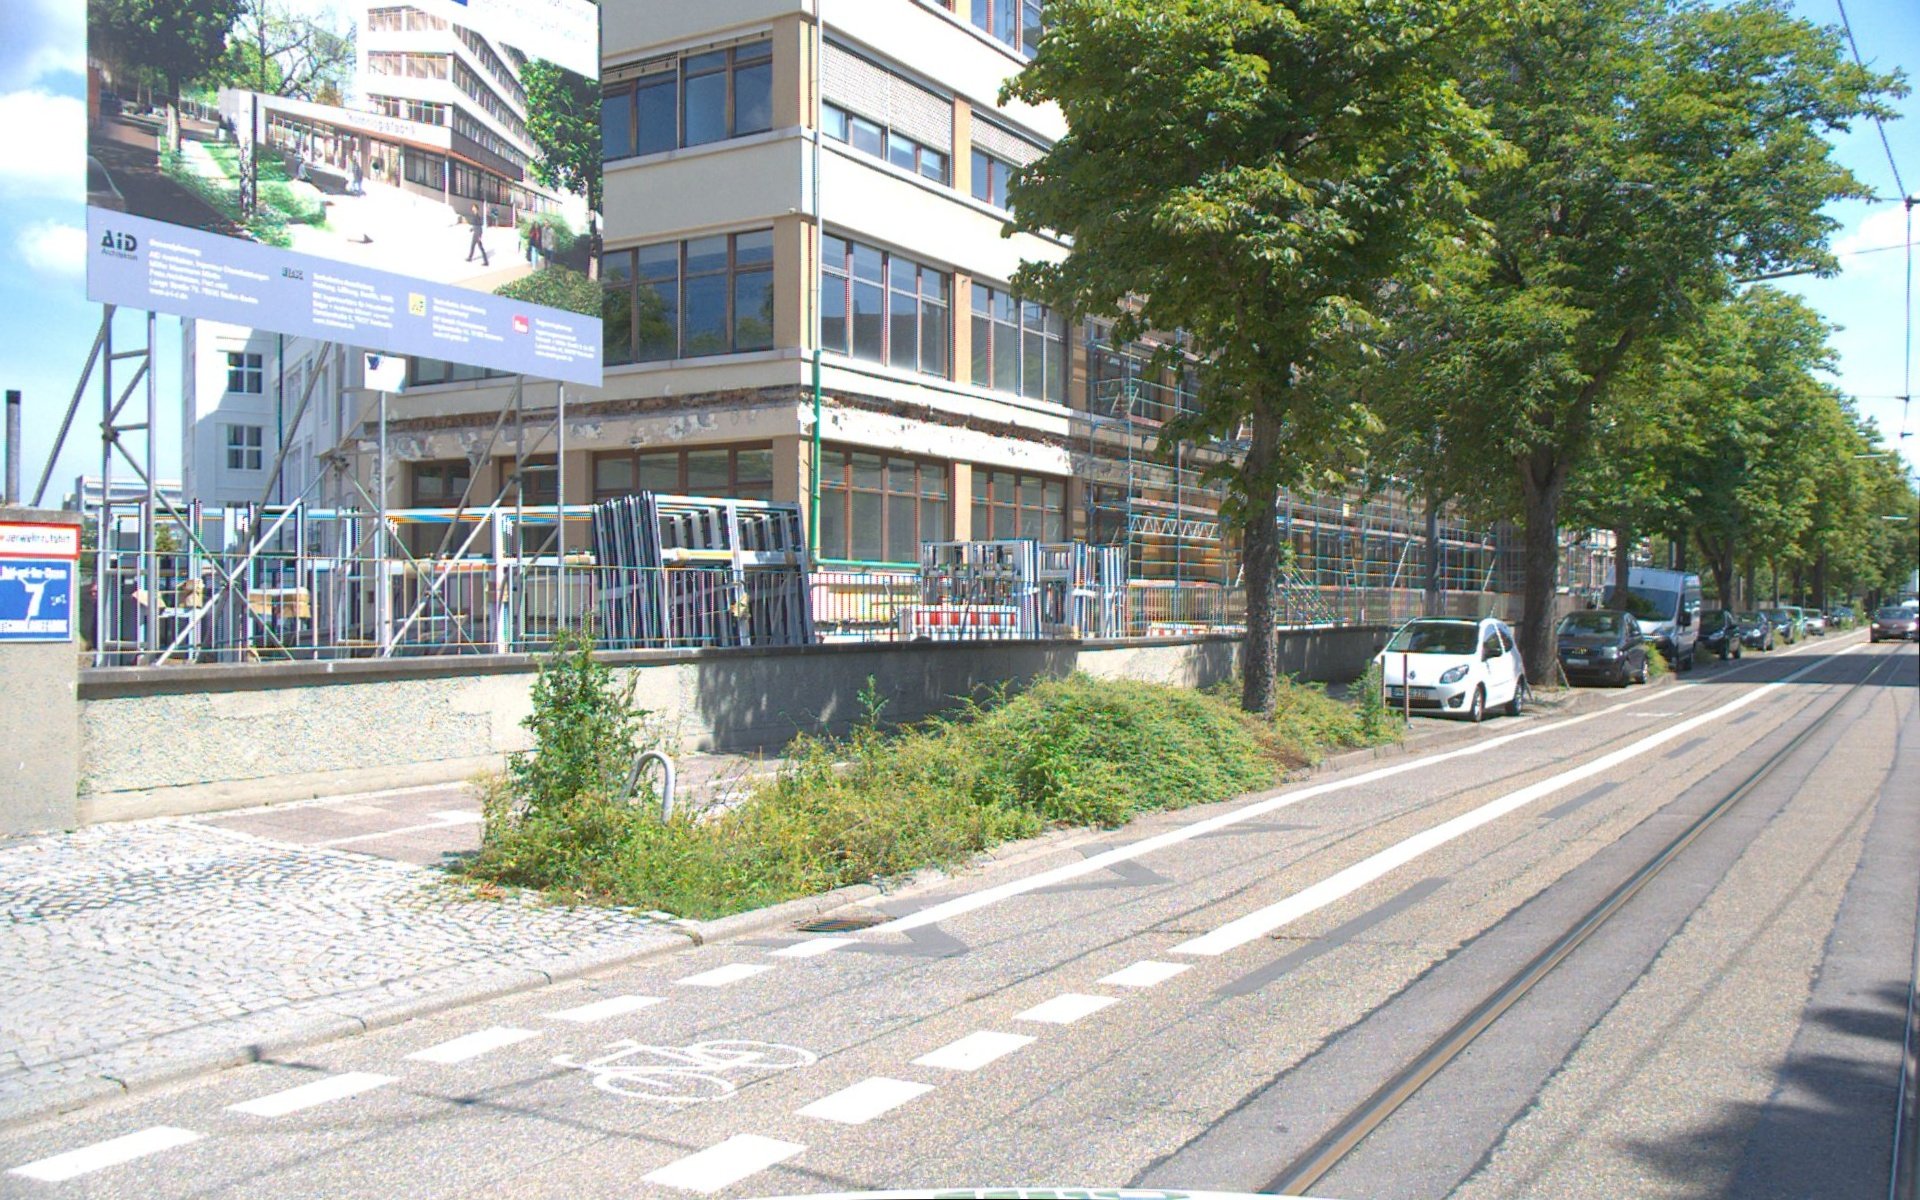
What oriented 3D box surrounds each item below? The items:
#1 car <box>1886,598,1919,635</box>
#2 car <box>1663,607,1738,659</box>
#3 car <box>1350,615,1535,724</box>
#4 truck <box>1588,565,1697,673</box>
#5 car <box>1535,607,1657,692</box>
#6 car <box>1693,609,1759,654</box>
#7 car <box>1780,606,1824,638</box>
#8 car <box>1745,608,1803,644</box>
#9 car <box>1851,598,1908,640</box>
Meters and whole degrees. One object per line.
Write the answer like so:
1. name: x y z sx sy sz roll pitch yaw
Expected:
1. car: 54.118 0.942 94.464 1.957 2.049 3.990 0 0 31
2. car: 22.370 0.966 49.907 1.954 1.481 3.996 0 0 26
3. car: 7.219 0.969 24.551 1.590 1.465 3.571 0 0 35
4. truck: 17.238 0.440 41.591 1.981 2.529 5.864 0 0 28
5. car: 13.504 0.987 34.984 1.955 1.635 3.995 1 0 28
6. car: 27.298 1.077 58.902 1.955 1.512 3.995 0 0 28
7. car: 44.303 1.139 86.996 1.788 1.601 3.991 0 0 31
8. car: 35.761 1.113 72.633 1.957 1.512 4.328 0 0 31
9. car: 39.006 0.786 70.128 1.957 1.718 3.990 0 0 32
